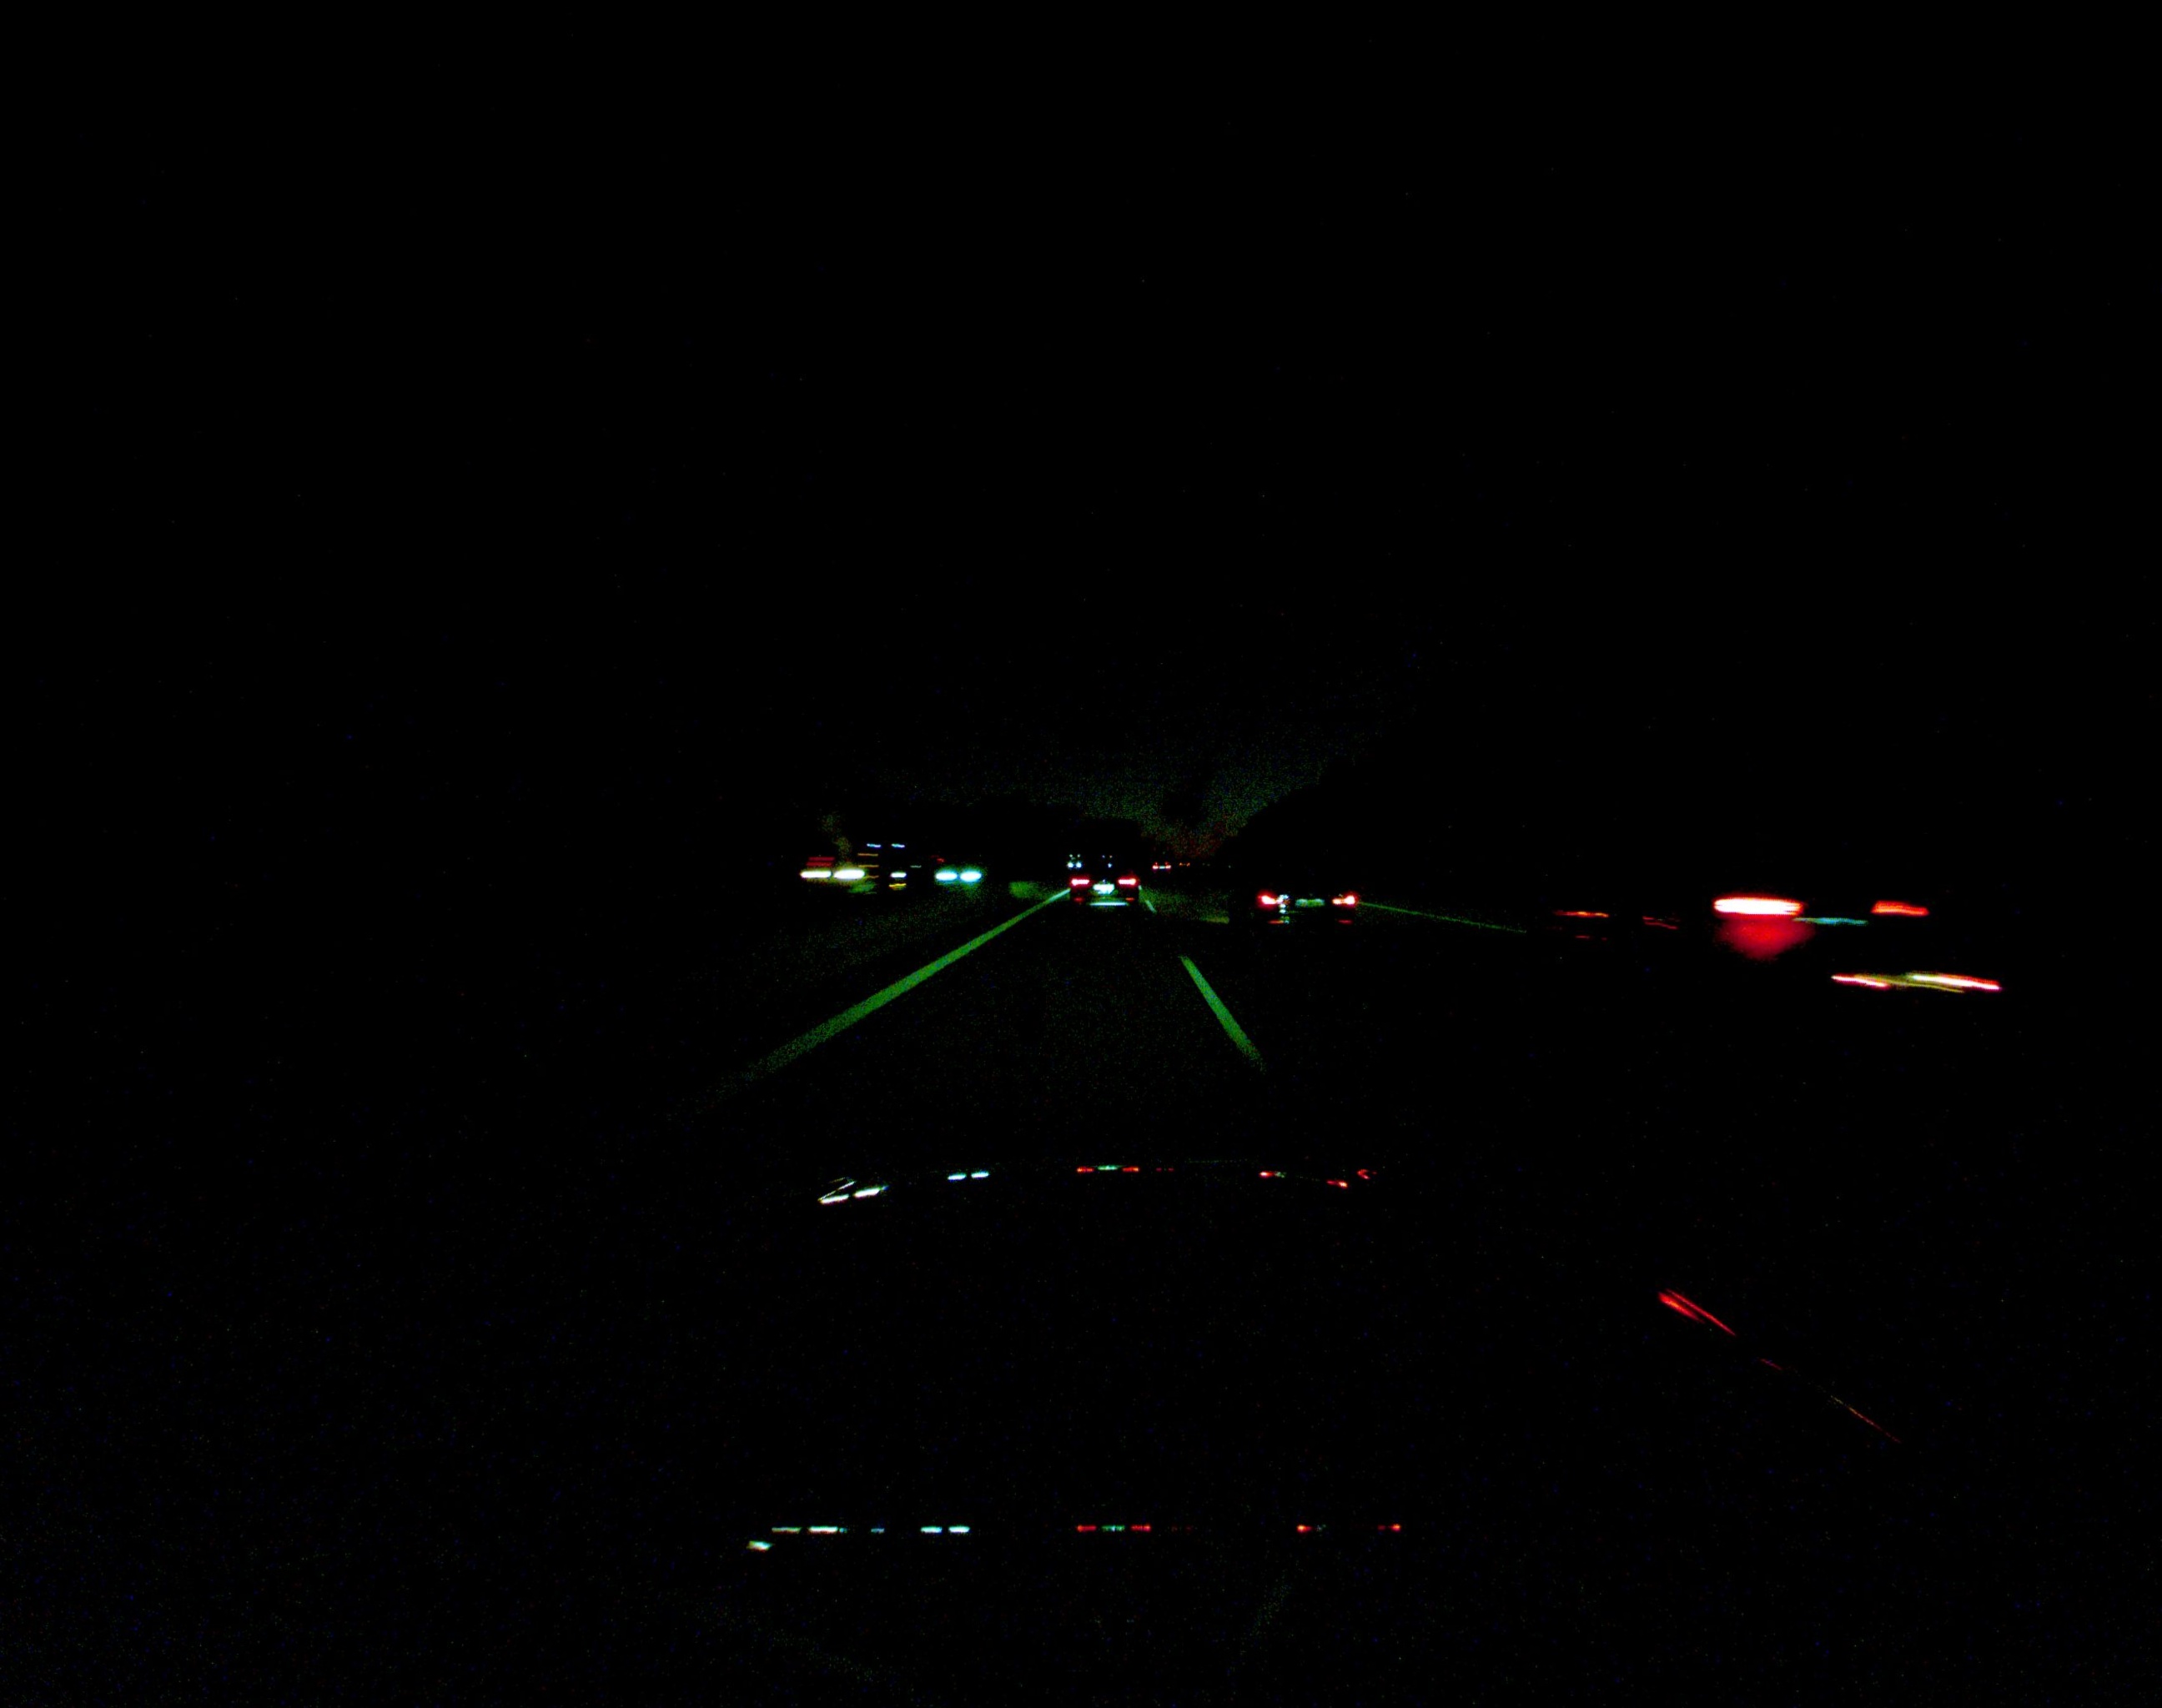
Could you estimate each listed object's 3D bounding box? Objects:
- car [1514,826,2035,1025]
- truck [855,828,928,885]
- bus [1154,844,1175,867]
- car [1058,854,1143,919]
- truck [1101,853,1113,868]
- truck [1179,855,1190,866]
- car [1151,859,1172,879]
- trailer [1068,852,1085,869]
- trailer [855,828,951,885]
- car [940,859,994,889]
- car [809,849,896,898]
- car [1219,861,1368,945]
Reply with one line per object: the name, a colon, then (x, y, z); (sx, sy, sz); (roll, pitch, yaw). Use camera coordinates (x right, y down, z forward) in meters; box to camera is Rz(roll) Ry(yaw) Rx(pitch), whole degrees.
car: (7.405, 0.642, 9.683); (1.985, 1.718, 5.171); (-1, 0, 3)
truck: (-13.910, 0.205, 60.478); (3.422, 4.007, 6.781); (0, -1, 4)
bus: (16.894, 0.390, 163.480); (2.635, 3.994, 14.744); (-3, -2, 11)
car: (0.520, 0.805, 22.293); (2.098, 1.618, 4.205); (0, 0, 1)
truck: (7.865, 1.861, 243.994); (2.837, 4.433, 6.408); (0, -1, 7)
truck: (29.723, 1.879, 234.026); (2.535, 3.016, 9.059); (0, -1, 3)
car: (7.758, 1.478, 78.514); (1.902, 1.730, 4.005); (2, -2, 5)
trailer: (-0.912, 1.505, 182.912); (3.041, 3.689, 7.242); (0, -1, 7)
trailer: (-13.651, 0.256, 64.448); (3.422, 4.007, 14.773); (0, -1, 4)
car: (-6.340, 1.083, 45.779); (2.057, 1.622, 4.699); (-1, -1, 3)
car: (-11.084, 0.912, 40.155); (2.044, 2.198, 6.970); (-1, 0, 2)
car: (4.050, 0.852, 16.410); (1.828, 1.401, 5.071); (-1, 0, 2)
